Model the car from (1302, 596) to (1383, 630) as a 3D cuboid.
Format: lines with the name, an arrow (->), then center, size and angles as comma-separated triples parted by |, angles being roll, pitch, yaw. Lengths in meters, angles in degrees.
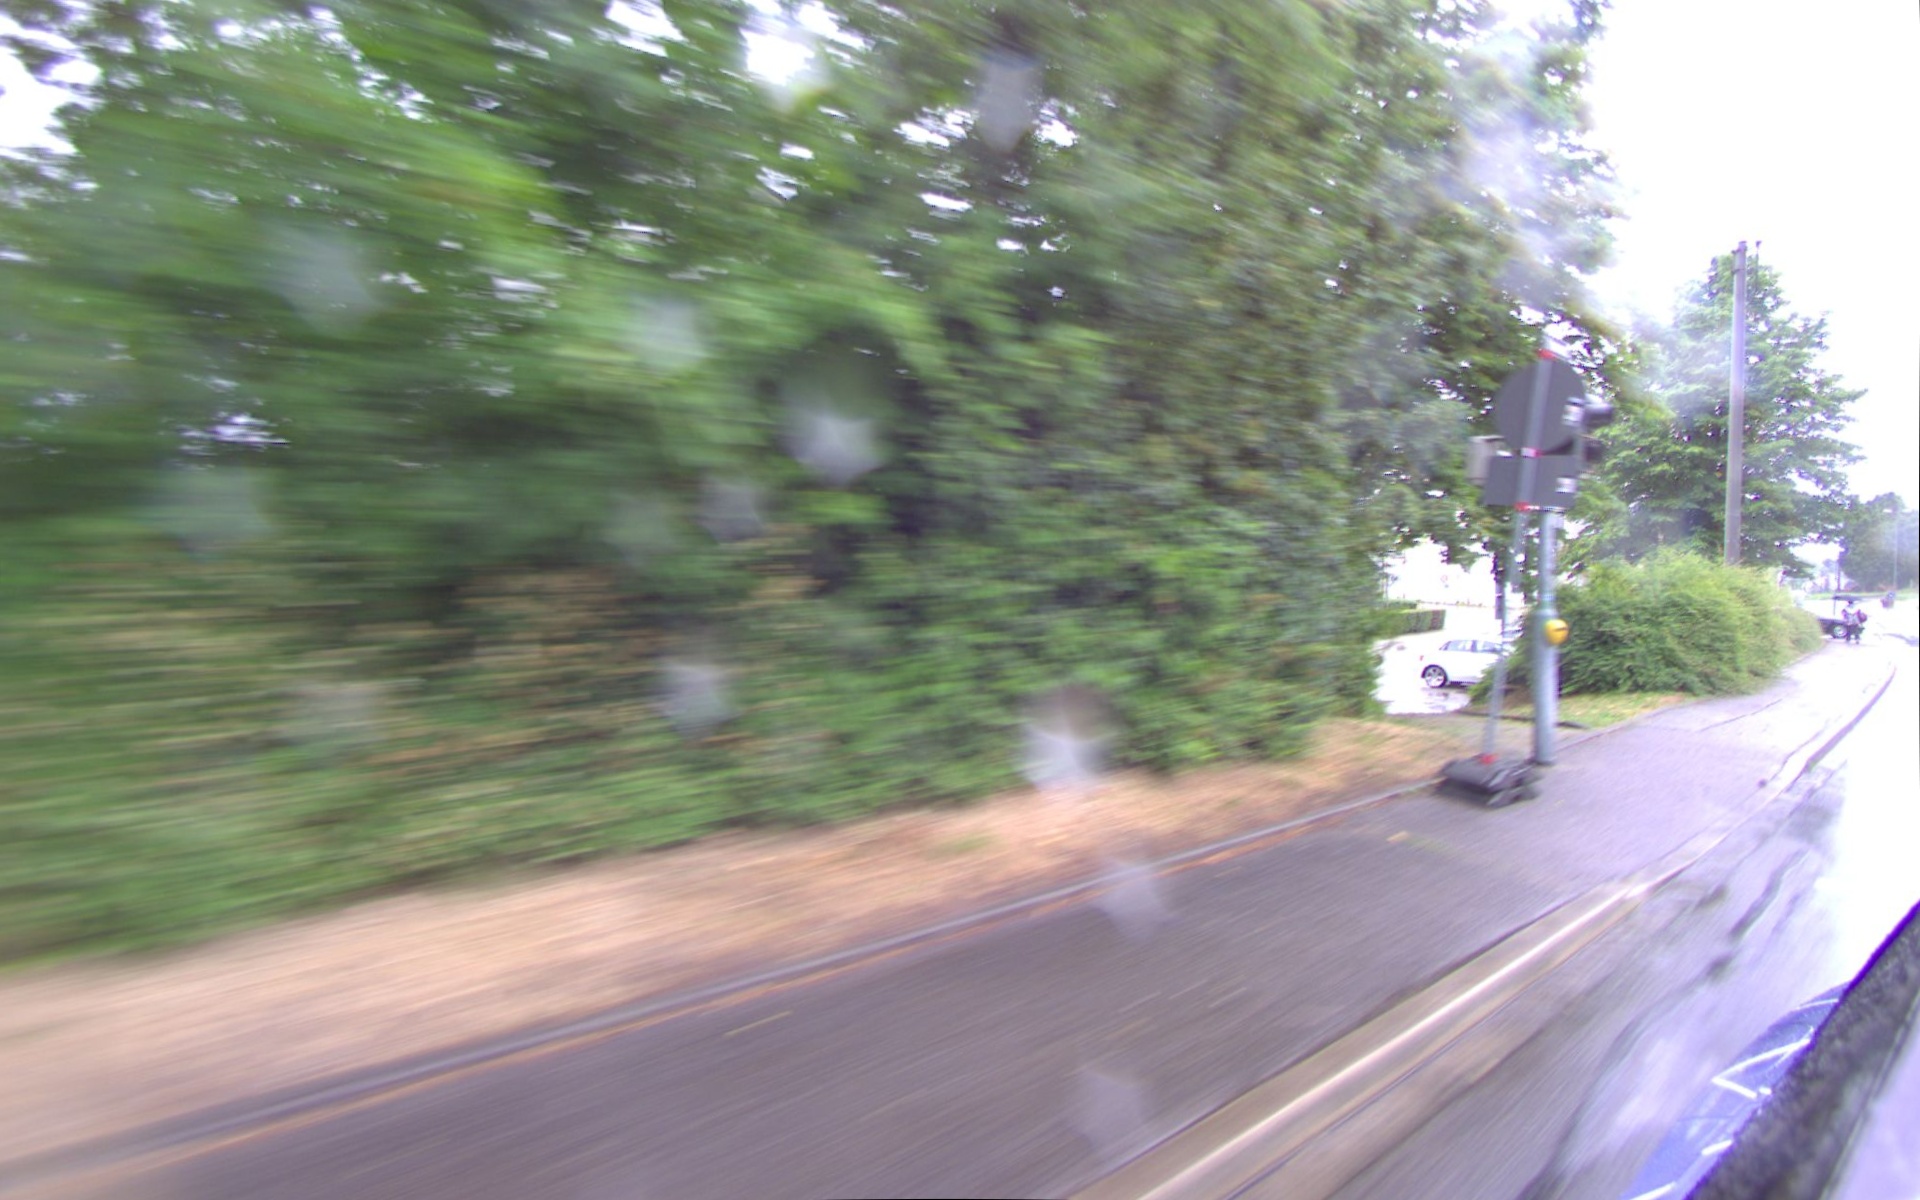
car -> 21.700, 0.741, 57.585 | 1.731, 1.772, 3.998 | -2, 1, -36

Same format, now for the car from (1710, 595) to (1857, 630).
car -> 35.466, 0.500, 43.685 | 1.779, 1.432, 4.798 | 0, 0, -45

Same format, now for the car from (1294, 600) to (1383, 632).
car -> 17.490, 0.772, 46.916 | 1.633, 1.428, 3.665 | 0, -2, -29

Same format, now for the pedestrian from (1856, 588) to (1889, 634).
pedestrian -> 31.160, 0.369, 34.564 | 0.769, 1.545, 0.859 | 2, 1, 45

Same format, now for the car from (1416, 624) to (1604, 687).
car -> 14.554, 1.415, 26.922 | 1.967, 1.445, 3.990 | -2, 1, -44
